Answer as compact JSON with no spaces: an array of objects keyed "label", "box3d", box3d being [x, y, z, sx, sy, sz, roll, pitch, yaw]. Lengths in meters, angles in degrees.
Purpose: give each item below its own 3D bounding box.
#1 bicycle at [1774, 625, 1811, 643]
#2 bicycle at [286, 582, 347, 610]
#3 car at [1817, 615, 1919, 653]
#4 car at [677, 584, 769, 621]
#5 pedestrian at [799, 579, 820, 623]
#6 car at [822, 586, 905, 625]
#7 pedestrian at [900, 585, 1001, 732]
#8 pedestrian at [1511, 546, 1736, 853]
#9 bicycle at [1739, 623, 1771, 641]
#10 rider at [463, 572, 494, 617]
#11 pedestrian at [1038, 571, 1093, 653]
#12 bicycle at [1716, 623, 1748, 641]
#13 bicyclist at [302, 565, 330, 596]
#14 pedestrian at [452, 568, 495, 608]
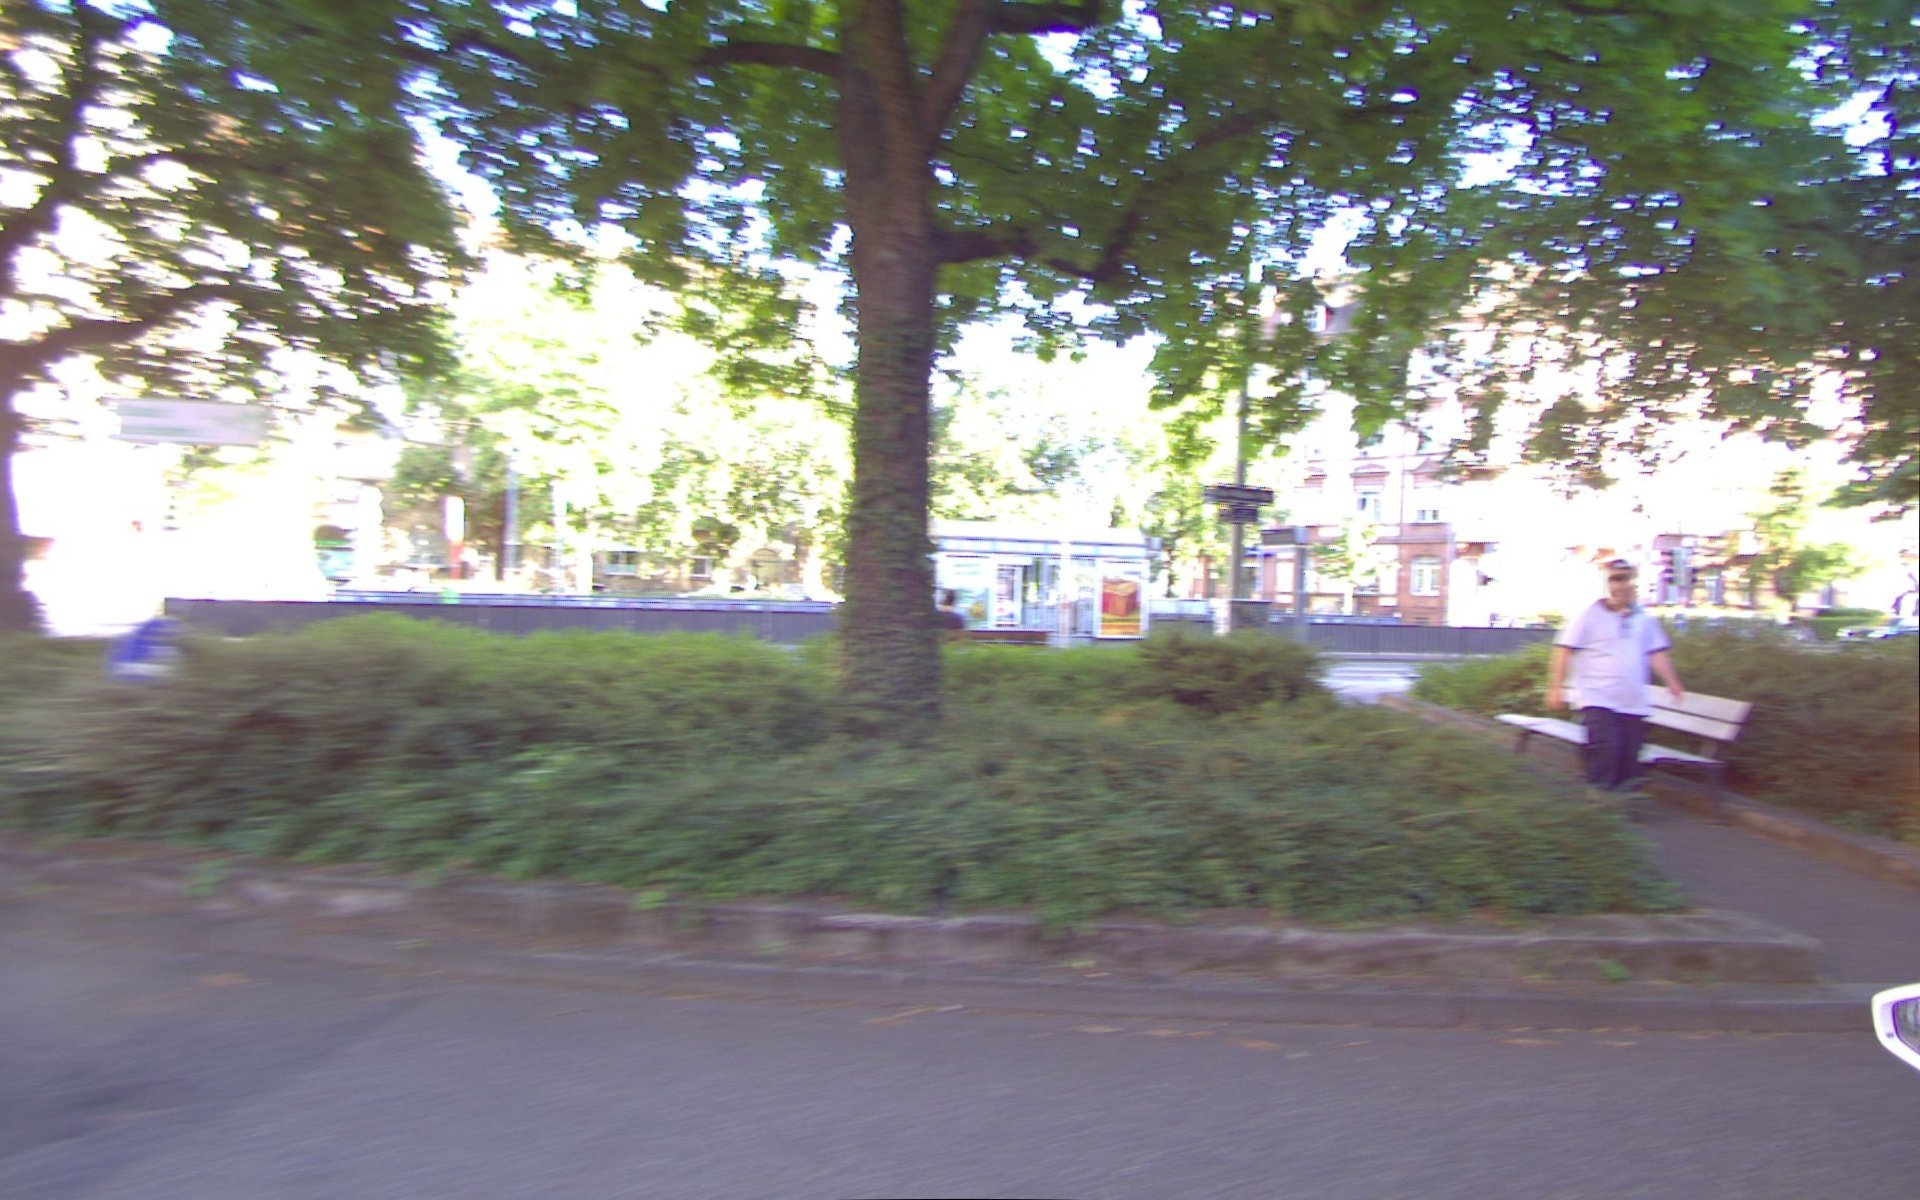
[{"label":"bicycle","box3d":[41.842,1.704,50.473,1.418,0.873,0.450,2,1,2]},{"label":"bicycle","box3d":[-23.302,-0.145,36.417,0.643,0.958,1.737,2,1,33]},{"label":"car","box3d":[40.780,1.472,44.592,4.299,1.516,1.995,0,1,-13]},{"label":"car","box3d":[-11.541,0.122,48.909,3.913,1.702,1.933,1,1,-38]},{"label":"pedestrian","box3d":[-6.105,0.042,40.674,0.692,1.717,0.669,3,1,-16]},{"label":"car","box3d":[-5.059,0.295,52.366,3.938,1.896,1.991,1,1,-19]},{"label":"pedestrian","box3d":[-0.117,0.678,12.284,0.885,1.706,0.815,2,1,40]},{"label":"pedestrian","box3d":[3.978,0.549,6.109,0.900,1.706,0.780,2,1,16]},{"label":"bicycle","box3d":[39.499,1.590,49.892,1.199,0.873,0.450,2,1,2]},{"label":"rider","box3d":[-18.910,-0.208,39.456,0.805,1.704,0.671,4,1,16]},{"label":"pedestrian","box3d":[2.519,0.278,24.070,1.003,1.923,0.909,1,1,-16]},{"label":"bicycle","box3d":[38.316,1.590,49.840,1.199,0.873,0.450,2,1,2]},{"label":"bicyclist","box3d":[-23.314,-0.703,36.368,0.602,1.068,0.675,2,1,33]},{"label":"pedestrian","box3d":[-23.830,-0.580,49.250,1.240,1.937,1.488,2,1,38]}]
